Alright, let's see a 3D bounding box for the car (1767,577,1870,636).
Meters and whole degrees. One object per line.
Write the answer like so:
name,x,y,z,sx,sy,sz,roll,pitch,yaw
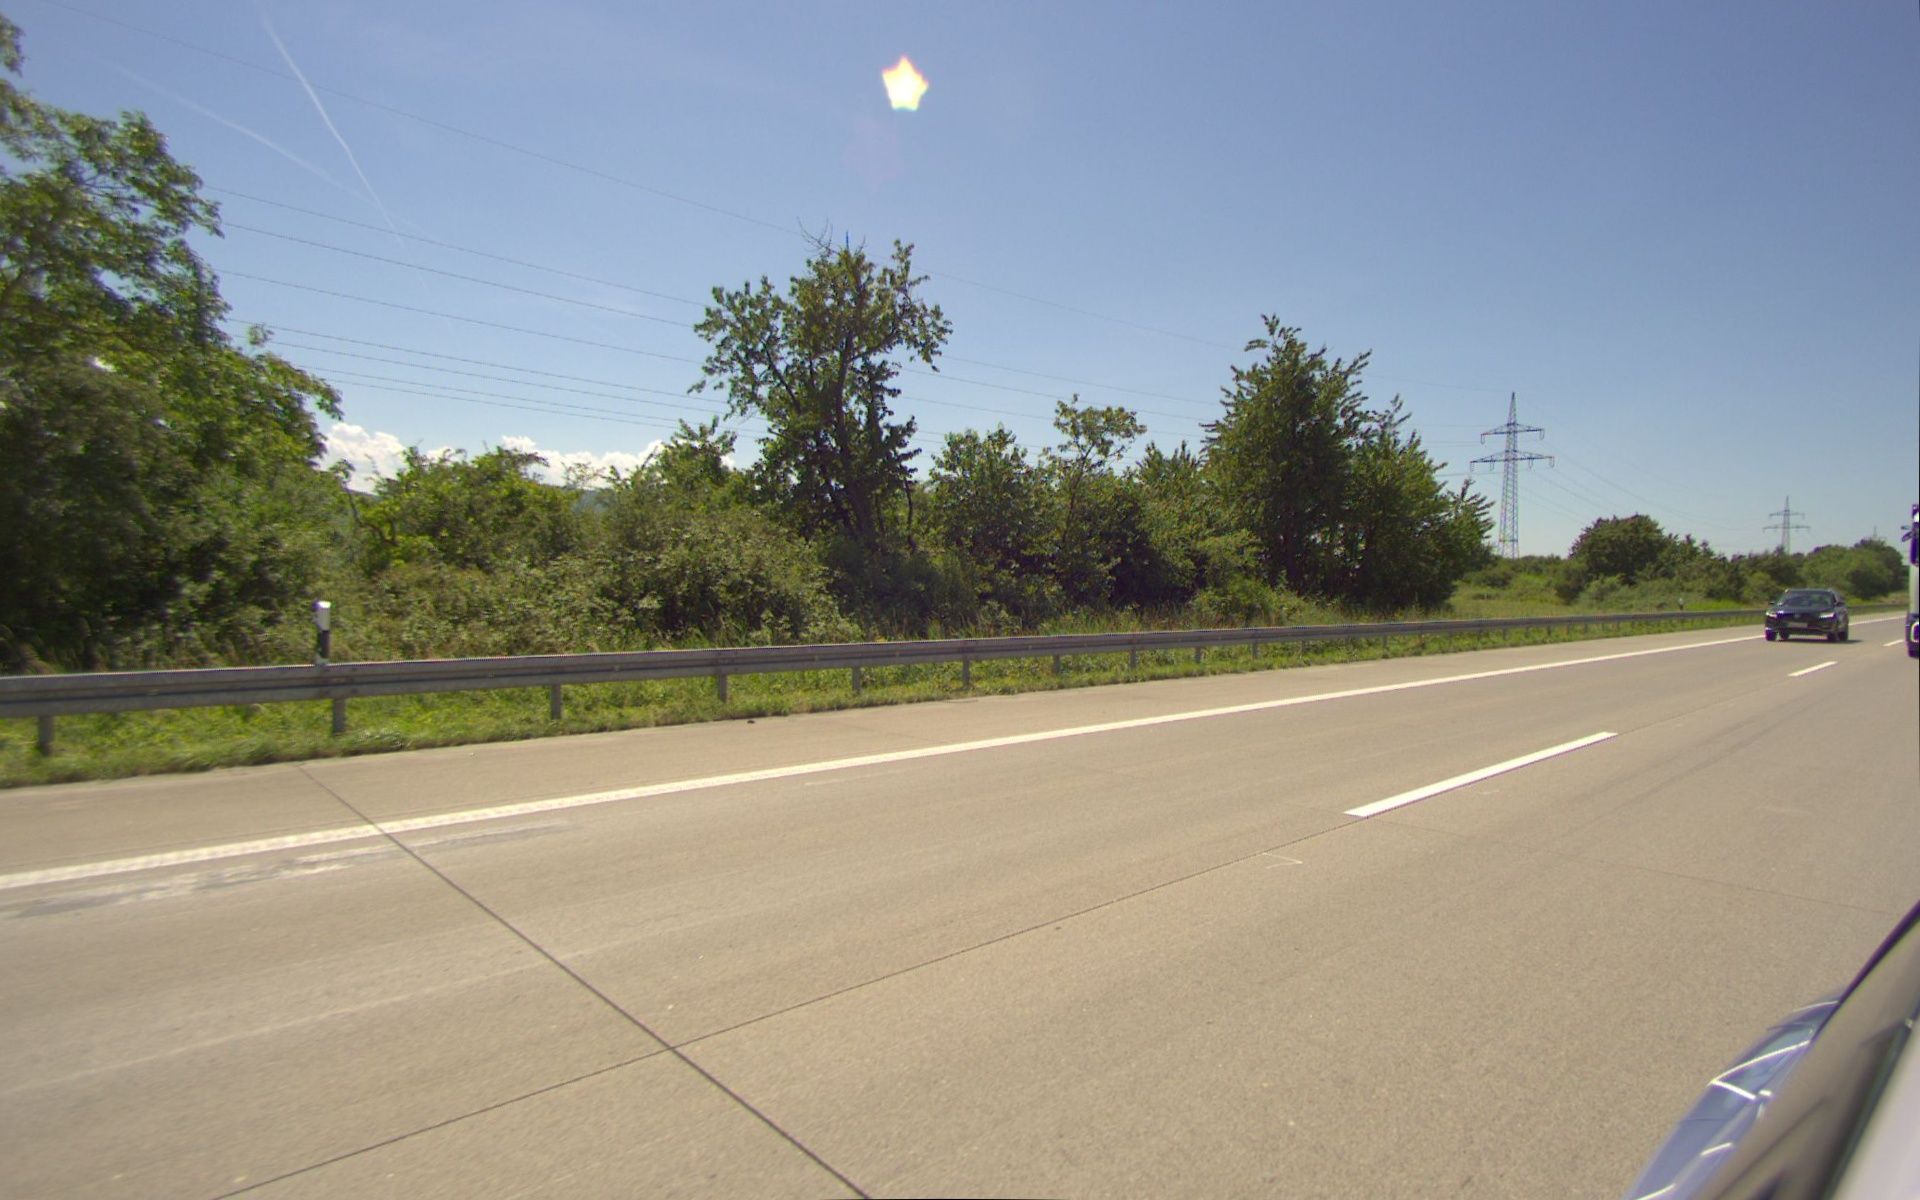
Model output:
car,28.044,0.173,33.022,3.930,1.805,1.997,0,0,-41
